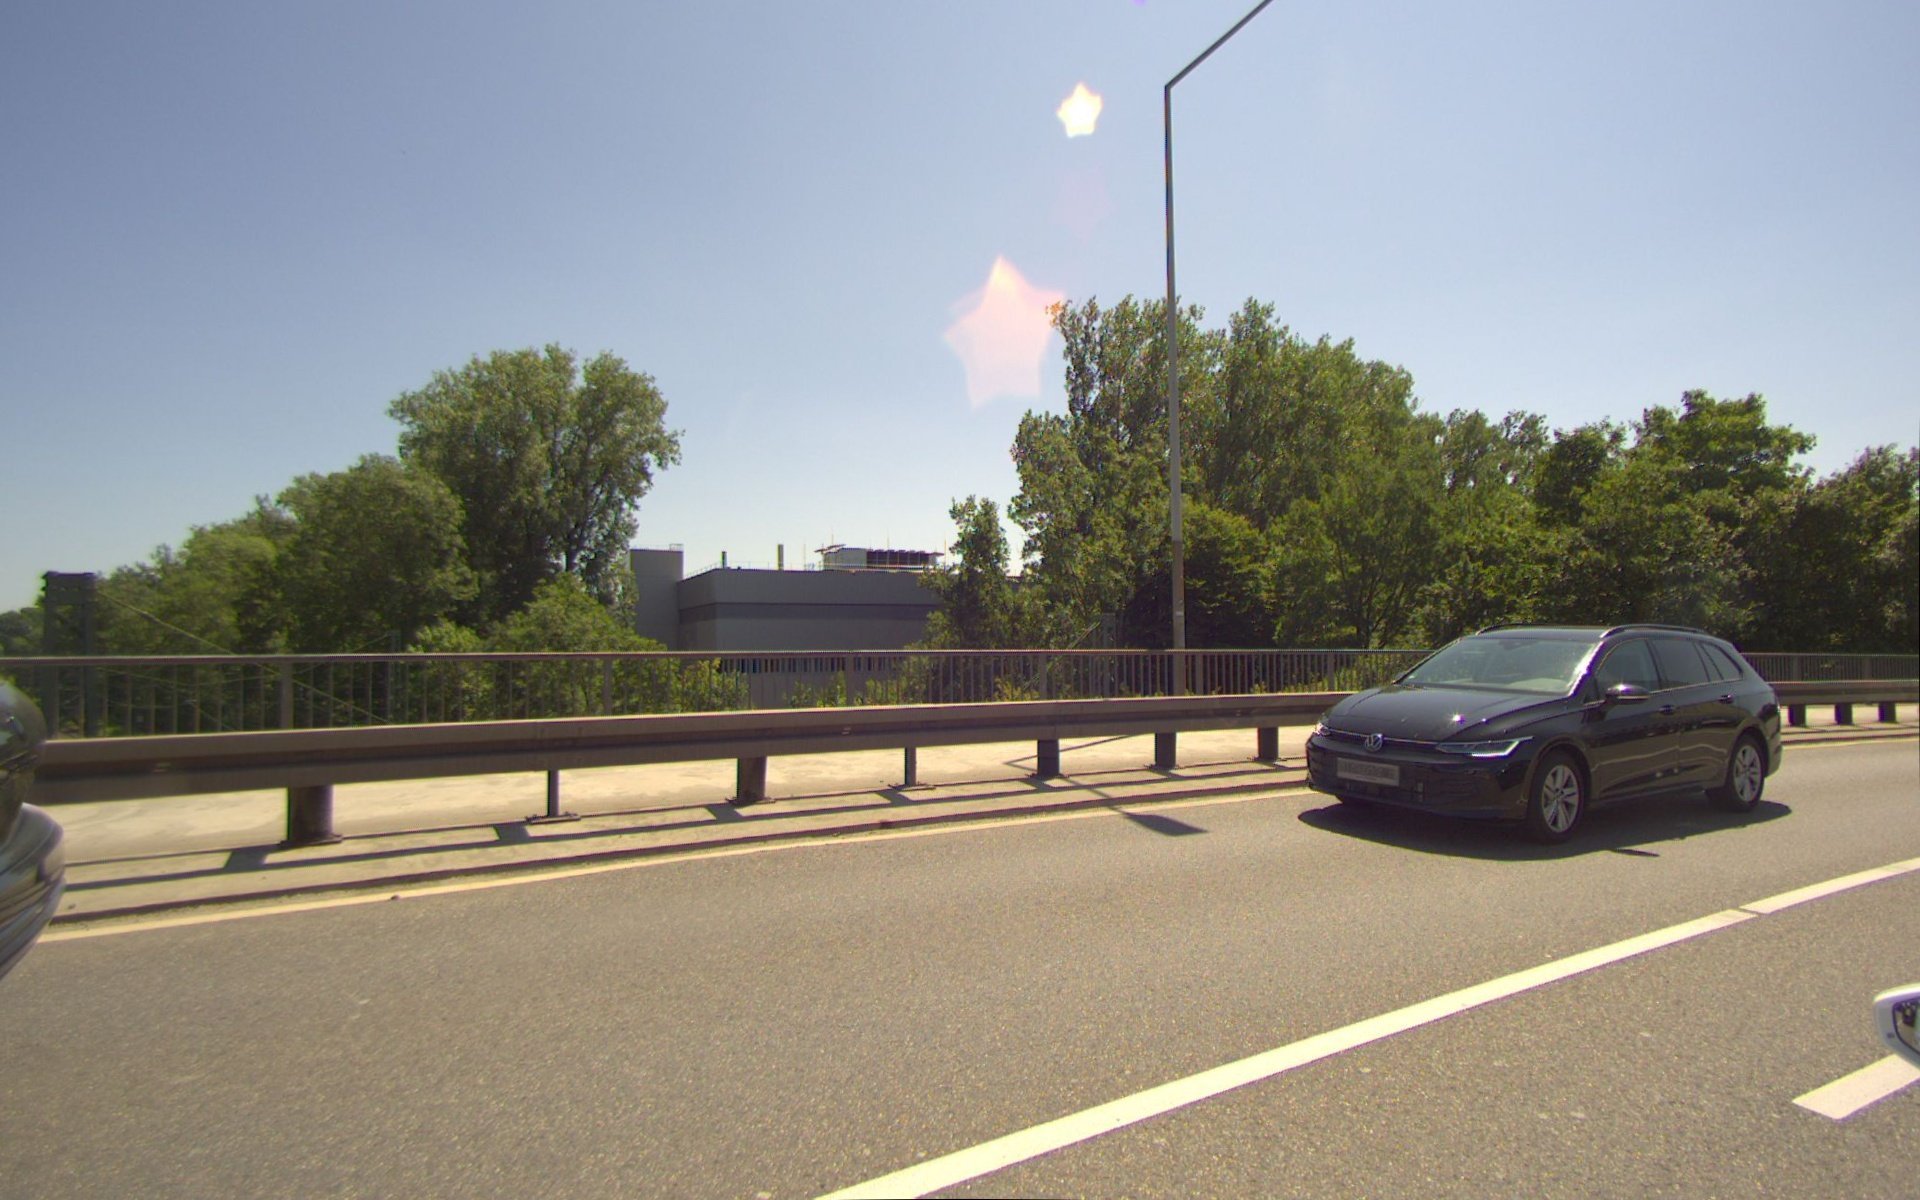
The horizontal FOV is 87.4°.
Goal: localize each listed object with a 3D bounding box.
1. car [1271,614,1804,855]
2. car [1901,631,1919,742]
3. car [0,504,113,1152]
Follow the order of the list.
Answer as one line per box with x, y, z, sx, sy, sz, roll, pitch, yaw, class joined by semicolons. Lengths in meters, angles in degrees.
4.727;0.892;8.073;4.405;1.488;1.703;1;-1;-29;car
14.896;1.200;13.676;3.998;1.468;1.595;2;-1;-23;car
-4.614;0.549;1.714;4.563;1.695;1.955;2;0;-33;car
